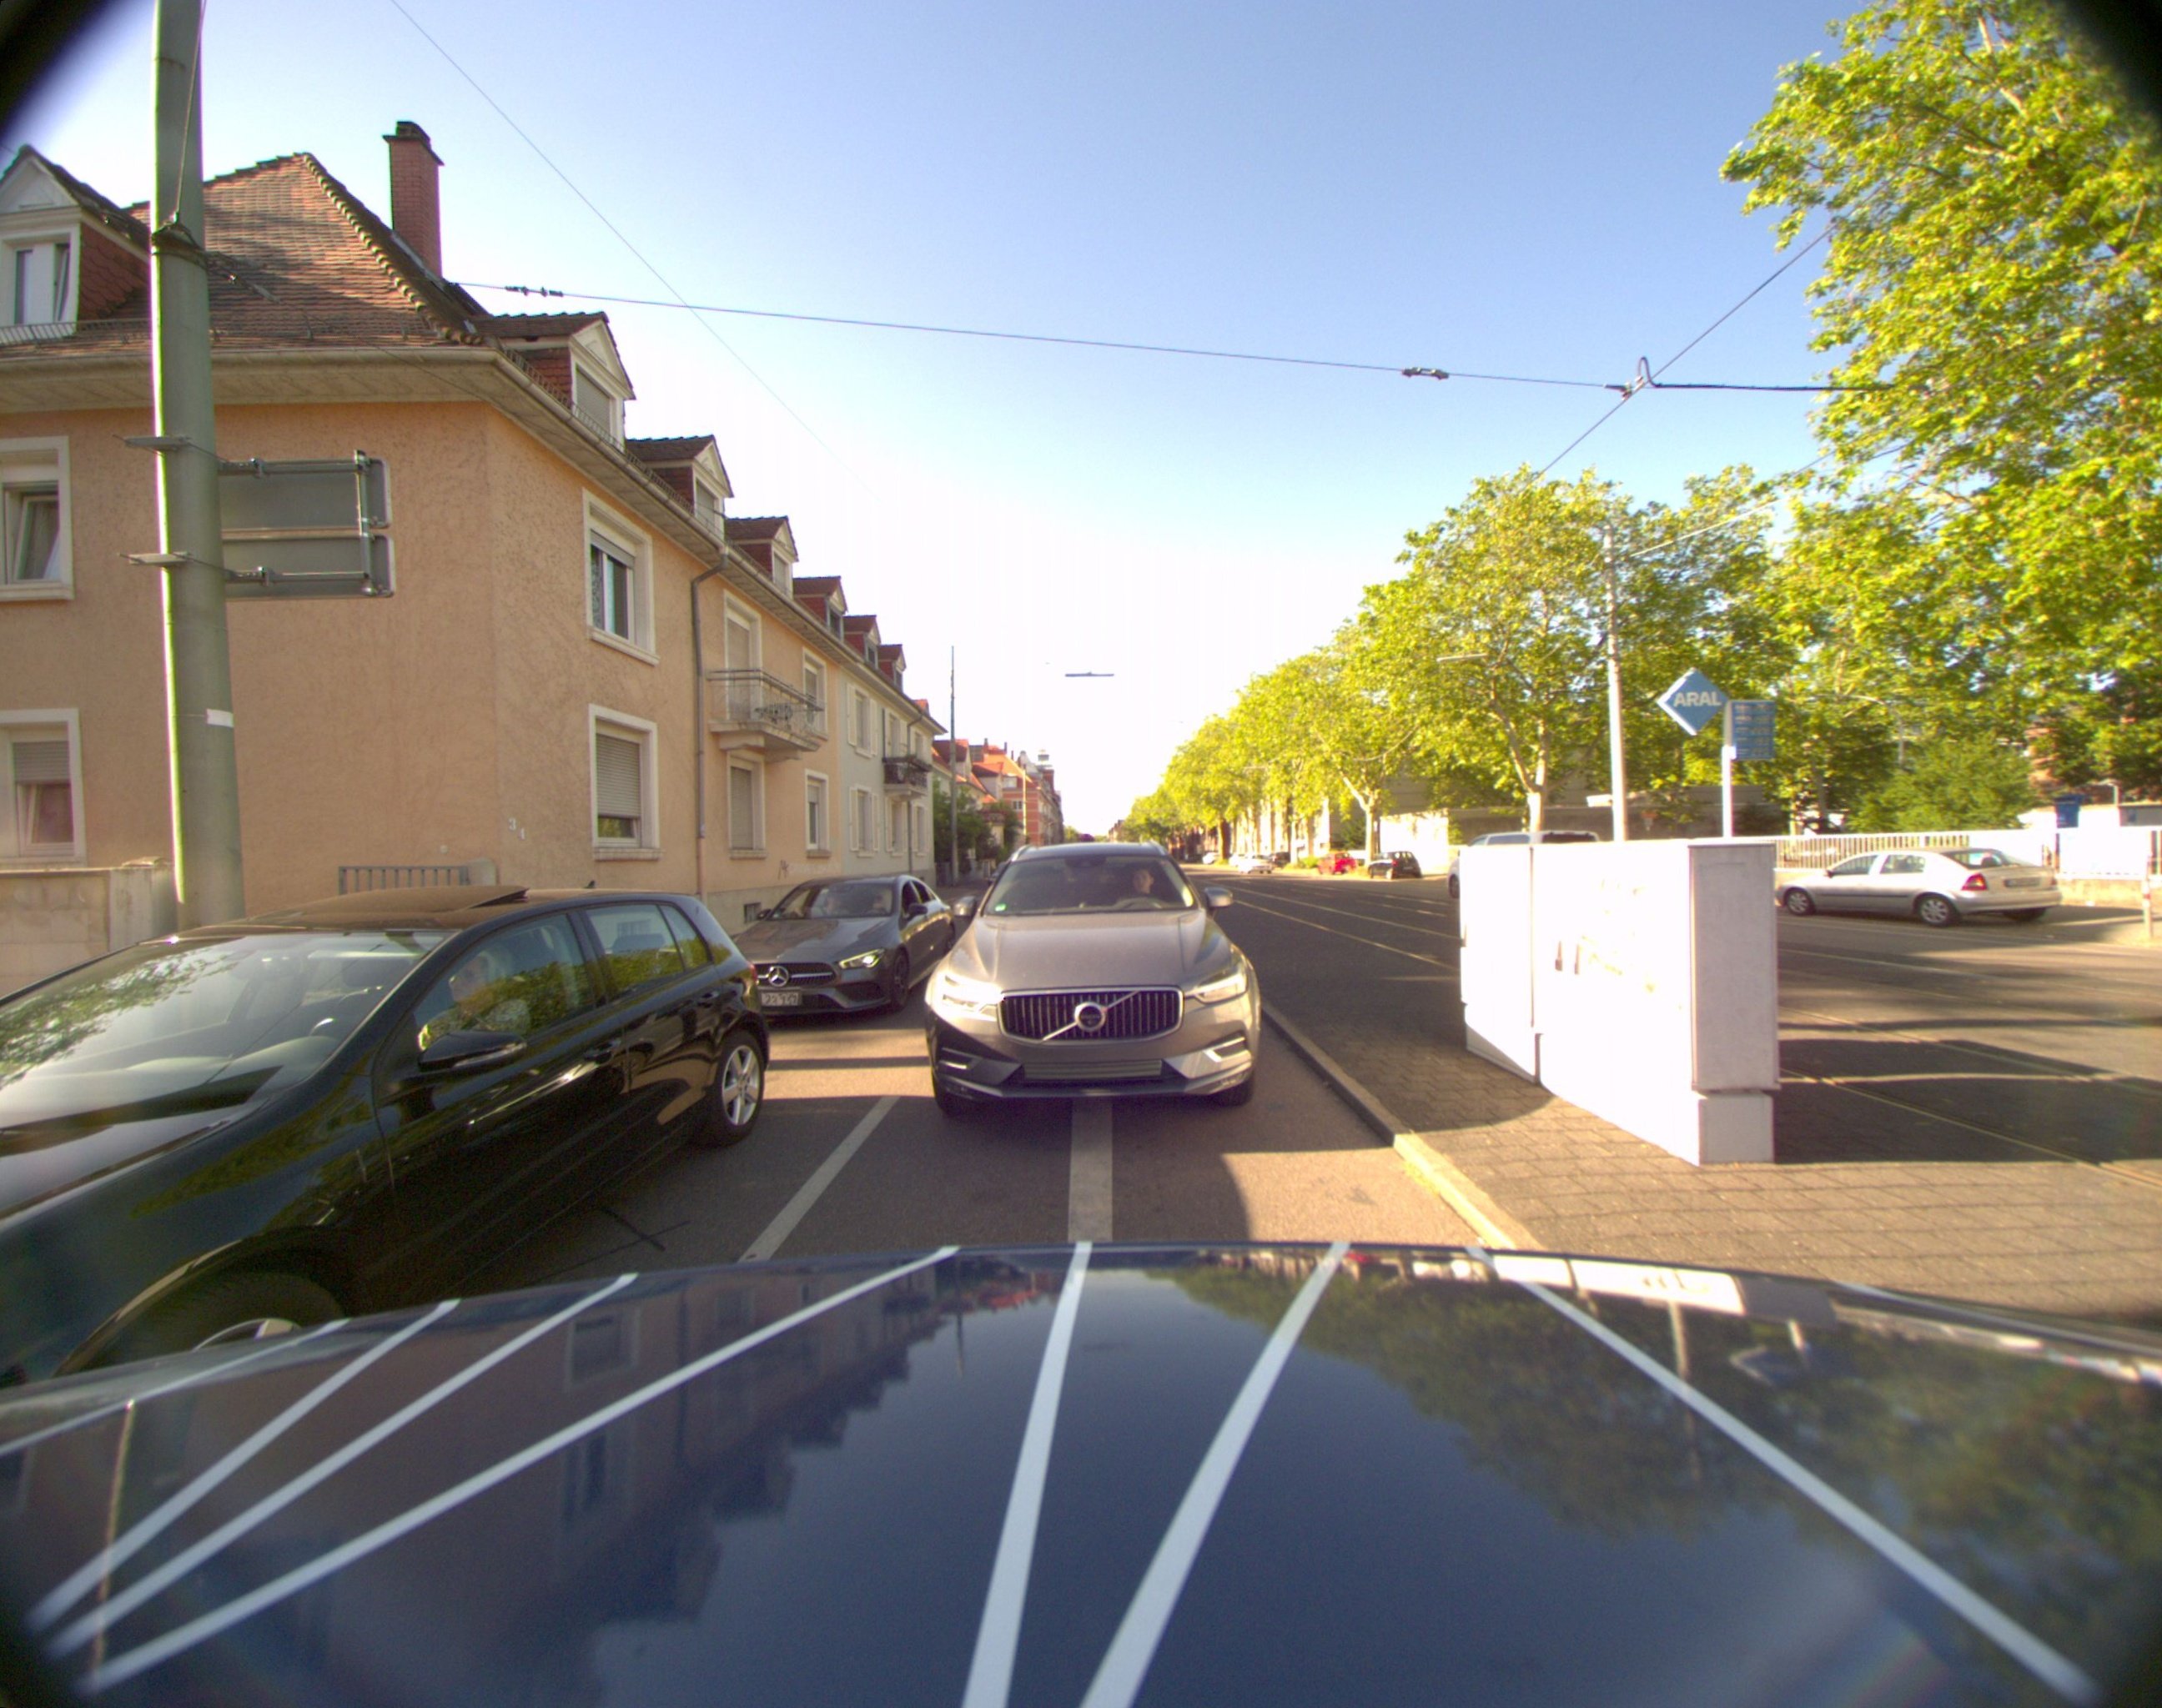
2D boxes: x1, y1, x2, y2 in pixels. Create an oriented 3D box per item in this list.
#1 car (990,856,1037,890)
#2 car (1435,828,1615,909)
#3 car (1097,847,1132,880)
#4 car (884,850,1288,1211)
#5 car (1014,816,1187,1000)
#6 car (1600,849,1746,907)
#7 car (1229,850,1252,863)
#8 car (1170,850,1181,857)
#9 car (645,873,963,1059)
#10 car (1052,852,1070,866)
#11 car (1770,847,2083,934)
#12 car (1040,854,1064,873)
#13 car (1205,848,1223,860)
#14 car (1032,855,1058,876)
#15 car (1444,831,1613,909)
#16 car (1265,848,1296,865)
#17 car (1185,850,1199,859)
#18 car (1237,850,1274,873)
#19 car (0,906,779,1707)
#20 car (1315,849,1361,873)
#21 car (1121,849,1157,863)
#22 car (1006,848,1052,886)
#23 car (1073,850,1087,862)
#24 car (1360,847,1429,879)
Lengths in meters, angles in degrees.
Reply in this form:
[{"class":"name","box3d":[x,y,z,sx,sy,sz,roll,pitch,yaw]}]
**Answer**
[{"class":"car","box3d":[-3.250,0.897,37.098,1.841,1.449,3.999,-2,1,1]},{"class":"car","box3d":[11.762,0.403,20.659,1.887,1.863,5.115,-2,-1,1]},{"class":"car","box3d":[1.975,0.545,45.828,1.866,1.794,4.778,-2,1,1]},{"class":"car","box3d":[0.033,0.855,6.090,1.912,1.666,4.763,-2,1,0]},{"class":"car","box3d":[0.232,0.598,11.121,1.912,2.048,4.763,-2,1,0]},{"class":"car","box3d":[16.400,0.605,21.255,1.546,1.412,3.254,-2,1,1]},{"class":"car","box3d":[17.511,0.251,83.520,1.700,1.401,3.999,-1,1,1]},{"class":"car","box3d":[18.584,-0.073,149.563,1.700,1.401,3.999,-1,1,1]},{"class":"car","box3d":[-2.793,1.047,8.939,1.911,1.411,4.492,-2,1,2]},{"class":"car","box3d":[-2.188,0.586,85.434,1.841,1.449,3.999,-2,1,1]},{"class":"car","box3d":[16.231,0.605,14.956,1.731,1.412,3.999,-2,1,1]},{"class":"car","box3d":[-2.537,0.805,66.997,1.841,1.449,3.999,-2,1,1]},{"class":"car","box3d":[17.658,0.009,100.781,1.700,1.548,3.999,-1,1,1]},{"class":"car","box3d":[-2.832,0.888,60.588,1.841,1.449,3.999,-2,1,1]},{"class":"car","box3d":[11.709,0.347,20.273,1.850,1.835,4.394,-1,1,-1]},{"class":"car","box3d":[17.280,0.227,65.912,1.700,1.401,3.999,-1,1,1]},{"class":"car","box3d":[18.327,0.024,125.558,1.700,1.401,3.999,-1,1,1]},{"class":"car","box3d":[12.461,0.515,54.398,1.764,1.487,3.999,-2,1,1]},{"class":"car","box3d":[-2.785,1.061,2.670,1.733,1.499,4.051,-2,-1,1]},{"class":"car","box3d":[16.980,0.424,50.380,1.700,1.460,3.999,-1,1,1]},{"class":"car","box3d":[6.449,0.263,84.602,1.845,1.449,3.990,-3,1,-34]},{"class":"car","box3d":[-2.870,0.674,43.461,1.937,1.888,7.210,-2,1,1]},{"class":"car","box3d":[-0.164,0.273,106.487,1.841,1.449,3.999,-2,1,1]},{"class":"car","box3d":[16.942,0.430,41.354,1.753,1.514,4.434,-5,1,-1]}]
